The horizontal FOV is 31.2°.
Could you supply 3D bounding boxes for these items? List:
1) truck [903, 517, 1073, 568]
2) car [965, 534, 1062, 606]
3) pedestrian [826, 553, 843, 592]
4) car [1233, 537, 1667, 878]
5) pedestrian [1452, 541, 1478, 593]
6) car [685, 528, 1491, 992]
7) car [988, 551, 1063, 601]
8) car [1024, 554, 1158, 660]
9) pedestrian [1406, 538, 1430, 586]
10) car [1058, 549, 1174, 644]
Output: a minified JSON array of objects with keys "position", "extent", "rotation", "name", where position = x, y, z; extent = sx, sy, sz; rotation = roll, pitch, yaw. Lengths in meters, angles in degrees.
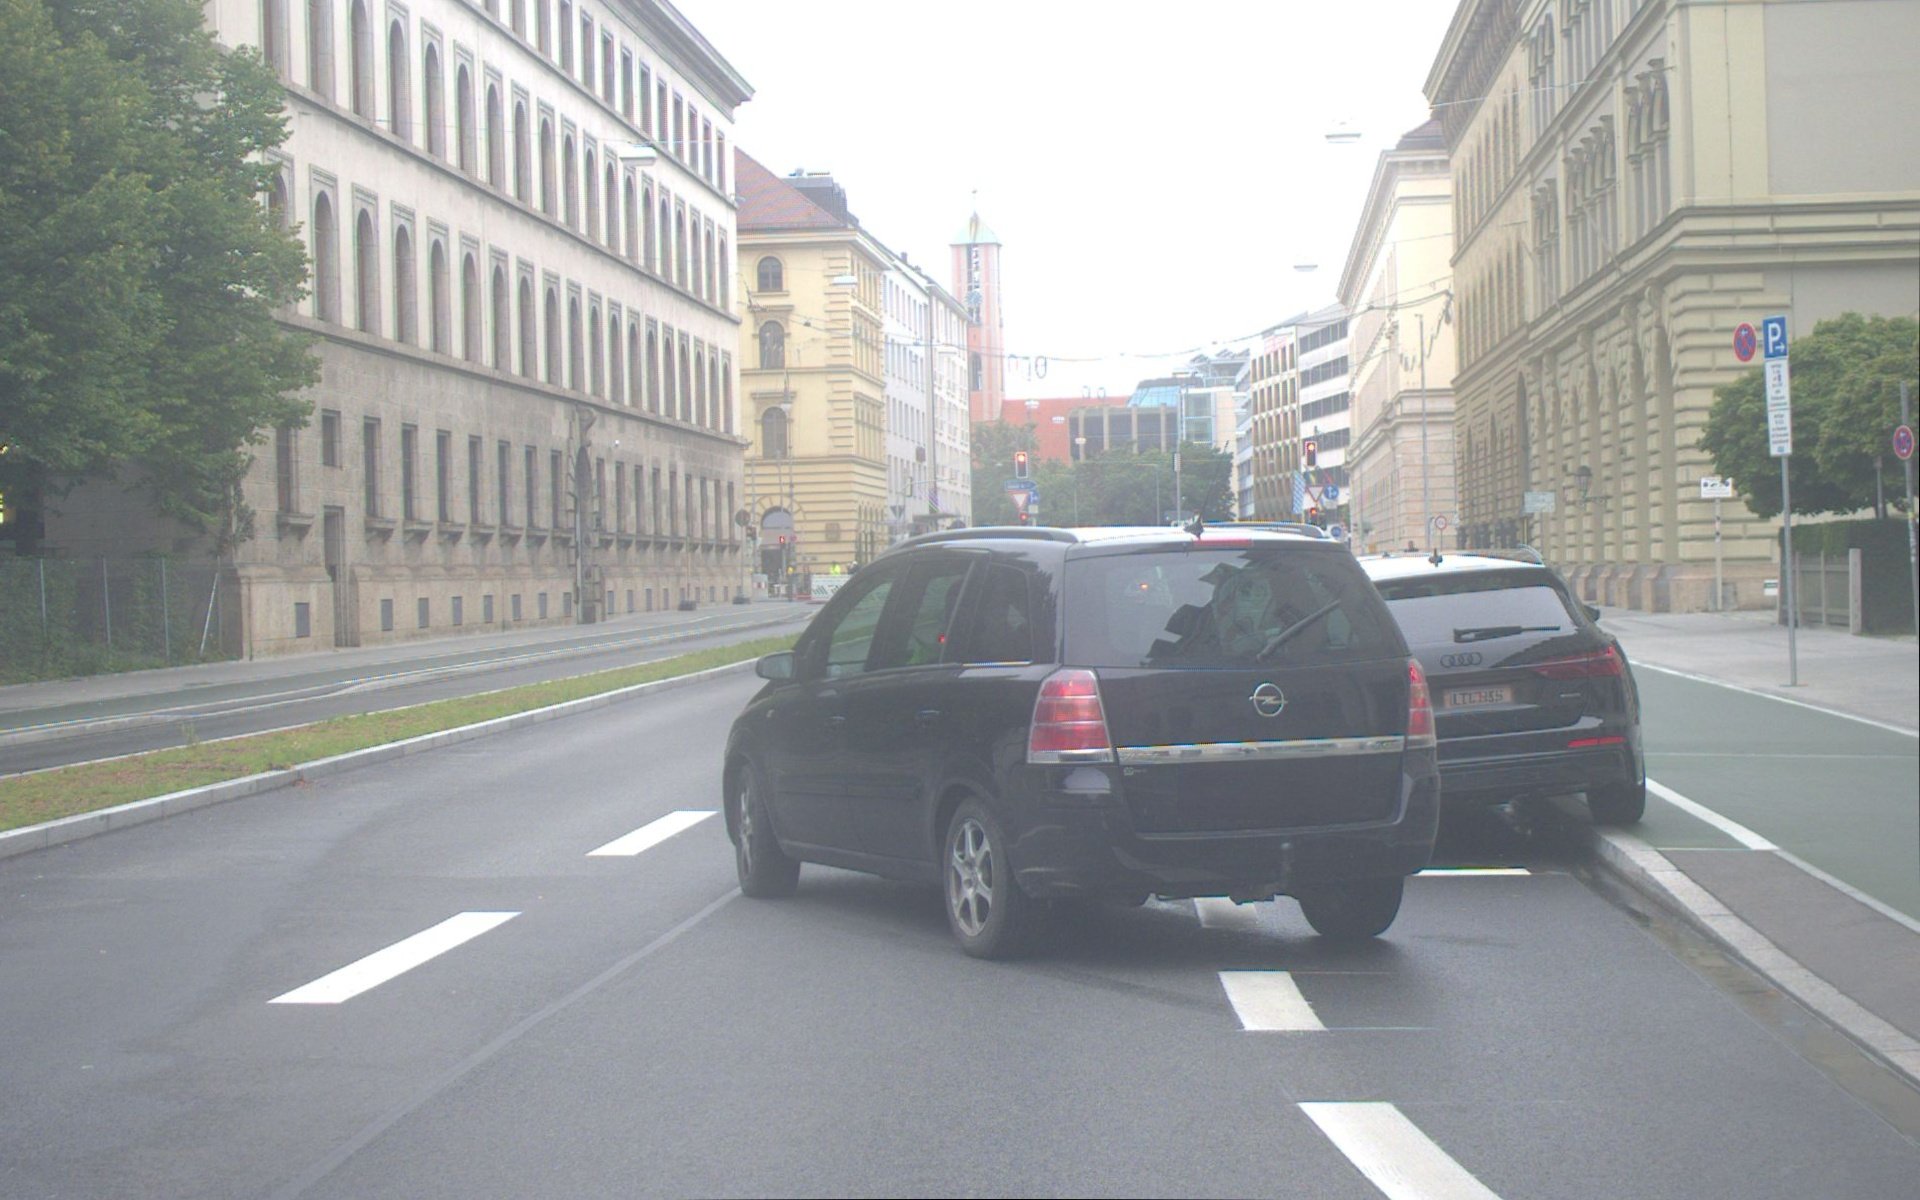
[{"position":[1.247,-2.561,153.707],"extent":[7.388,2.245,2.179],"rotation":[0,0,7],"name":"truck"},{"position":[1.302,-0.728,81.933],"extent":[1.994,1.622,3.999],"rotation":[-1,1,5],"name":"car"},{"position":[-5.852,-1.276,160.250],"extent":[0.656,1.799,0.727],"rotation":[-1,1,4],"name":"pedestrian"},{"position":[2.516,0.478,18.655],"extent":[1.809,1.475,4.462],"rotation":[-5,1,3],"name":"car"},{"position":[16.062,-1.049,109.375],"extent":[0.710,1.612,0.754],"rotation":[-1,1,4],"name":"pedestrian"},{"position":[0.353,0.523,14.163],"extent":[1.764,1.610,4.031],"rotation":[-1,1,-23],"name":"car"},{"position":[1.997,-0.745,104.271],"extent":[1.994,1.439,3.999],"rotation":[-1,1,5],"name":"car"},{"position":[1.886,0.067,48.374],"extent":[1.730,1.398,4.000],"rotation":[0,1,4],"name":"car"},{"position":[15.370,-1.280,115.363],"extent":[0.710,1.612,0.754],"rotation":[-1,1,4],"name":"pedestrian"},{"position":[2.541,-0.087,55.190],"extent":[1.730,1.456,4.000],"rotation":[0,1,4],"name":"car"}]
